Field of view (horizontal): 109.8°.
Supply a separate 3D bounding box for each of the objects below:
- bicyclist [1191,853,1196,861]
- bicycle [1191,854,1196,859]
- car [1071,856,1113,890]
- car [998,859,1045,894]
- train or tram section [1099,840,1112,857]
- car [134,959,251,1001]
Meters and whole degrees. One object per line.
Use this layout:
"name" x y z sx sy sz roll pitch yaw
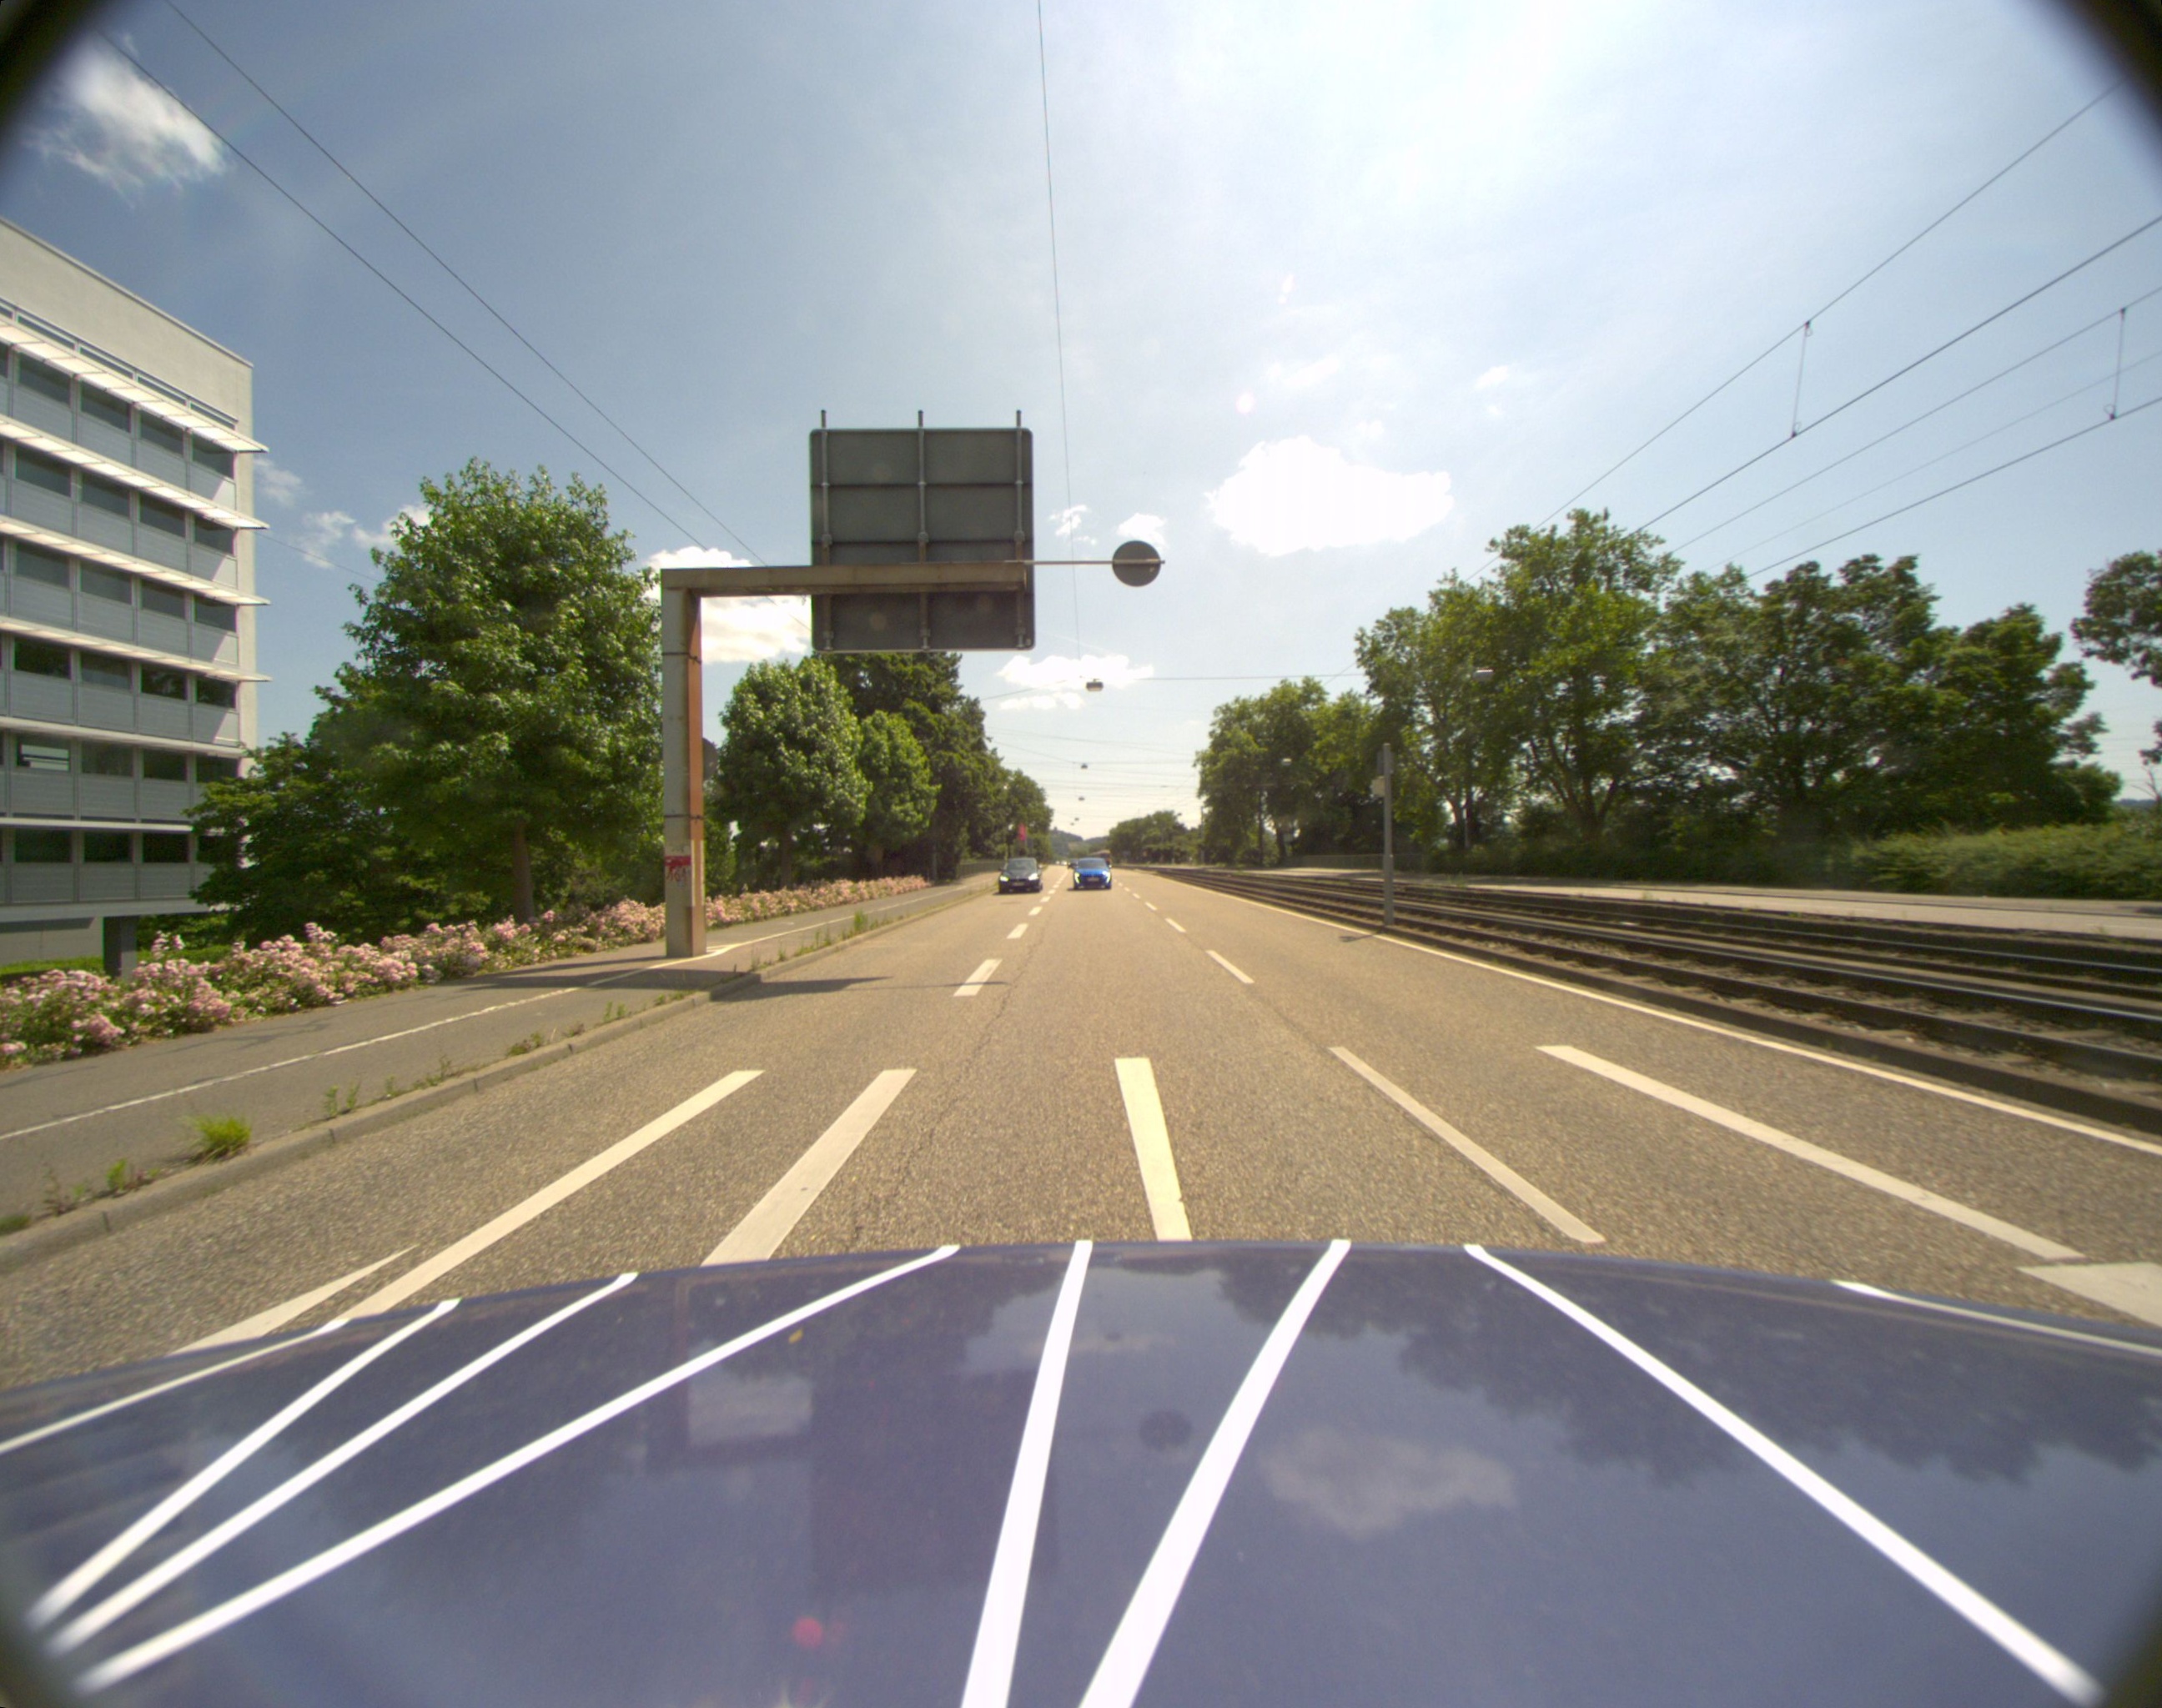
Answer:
"bicyclist" 21.616 0.609 145.844 0.712 1.475 0.918 -2 1 -1
"bicycle" 21.606 0.544 145.945 0.712 0.912 2.182 -2 0 -1
"car" 0.450 0.868 35.822 1.771 1.463 4.467 -2 0 -1
"car" -2.607 0.978 34.222 1.771 1.422 4.000 -2 0 0
"train or tram section" 6.192 -1.386 196.864 3.045 4.116 13.982 0 0 0
"car" -39.605 5.599 33.921 3.372 1.508 1.545 -2 1 2
